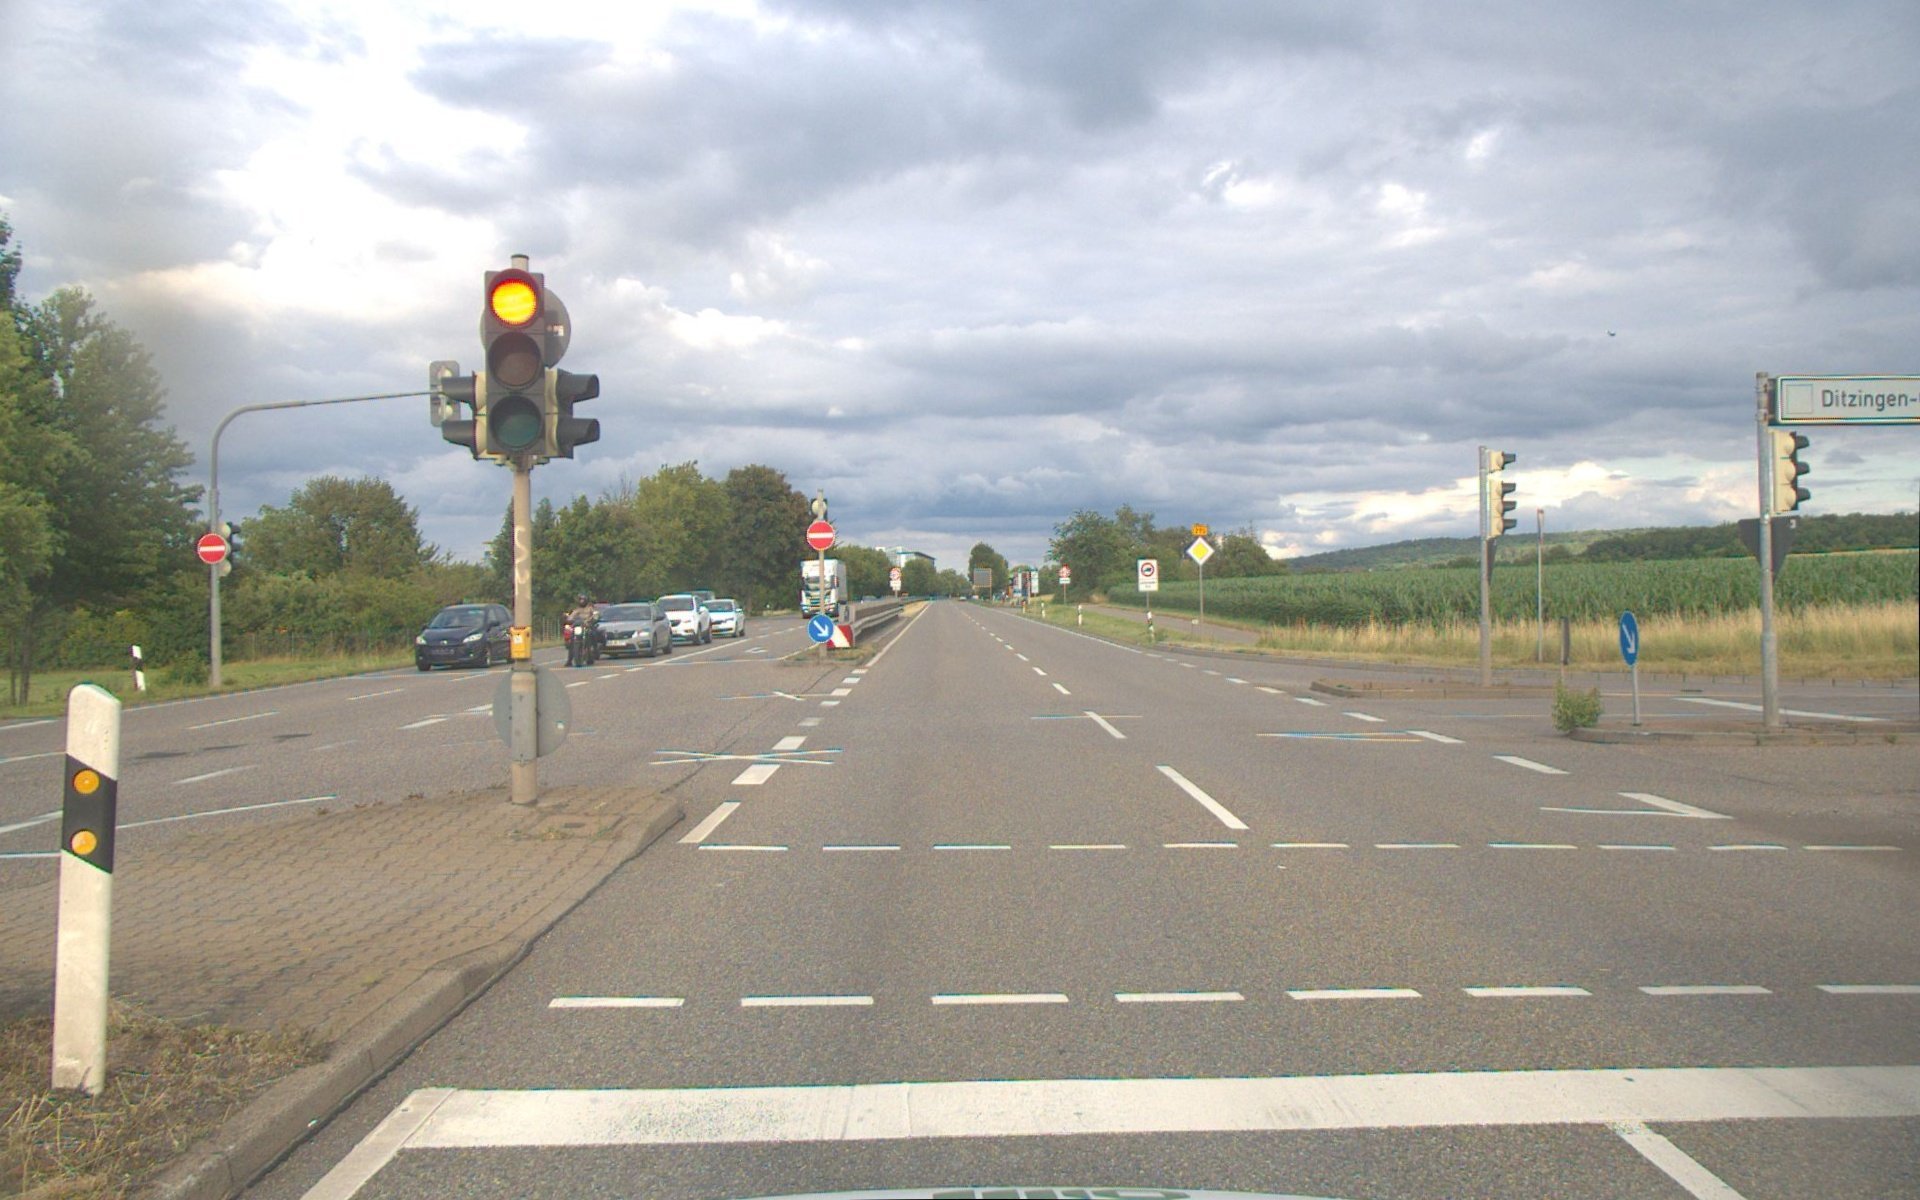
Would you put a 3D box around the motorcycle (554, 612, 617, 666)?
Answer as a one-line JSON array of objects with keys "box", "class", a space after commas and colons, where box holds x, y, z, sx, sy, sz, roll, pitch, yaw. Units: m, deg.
[{"box": [-8.963, 0.913, 39.687, 0.897, 1.224, 2.478, -2, 0, 0], "class": "motorcycle"}]

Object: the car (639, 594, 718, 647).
[{"box": [-9.226, 0.644, 54.499, 1.869, 1.638, 4.404, -2, 0, -1], "class": "car"}]

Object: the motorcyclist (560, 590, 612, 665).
[{"box": [-8.963, 0.643, 39.687, 0.897, 1.738, 1.276, -2, 0, -1], "class": "motorcyclist"}]

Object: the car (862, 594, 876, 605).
[{"box": [-12.084, -0.079, 219.789, 1.752, 1.410, 4.159, -2, 0, -1], "class": "car"}]

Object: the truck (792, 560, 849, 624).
[{"box": [-9.797, -0.576, 116.963, 3.404, 4.223, 6.048, -3, 0, -1], "class": "truck"}]

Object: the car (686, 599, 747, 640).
[{"box": [-9.343, 0.711, 63.765, 1.752, 1.469, 4.159, -2, 0, -1], "class": "car"}]

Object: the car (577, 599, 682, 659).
[{"box": [-8.959, 0.747, 45.240, 1.869, 1.453, 5.151, -2, 0, -1], "class": "car"}]

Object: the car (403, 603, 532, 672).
[{"box": [-12.515, 0.908, 42.359, 1.869, 1.562, 4.938, -2, 0, -1], "class": "car"}]
